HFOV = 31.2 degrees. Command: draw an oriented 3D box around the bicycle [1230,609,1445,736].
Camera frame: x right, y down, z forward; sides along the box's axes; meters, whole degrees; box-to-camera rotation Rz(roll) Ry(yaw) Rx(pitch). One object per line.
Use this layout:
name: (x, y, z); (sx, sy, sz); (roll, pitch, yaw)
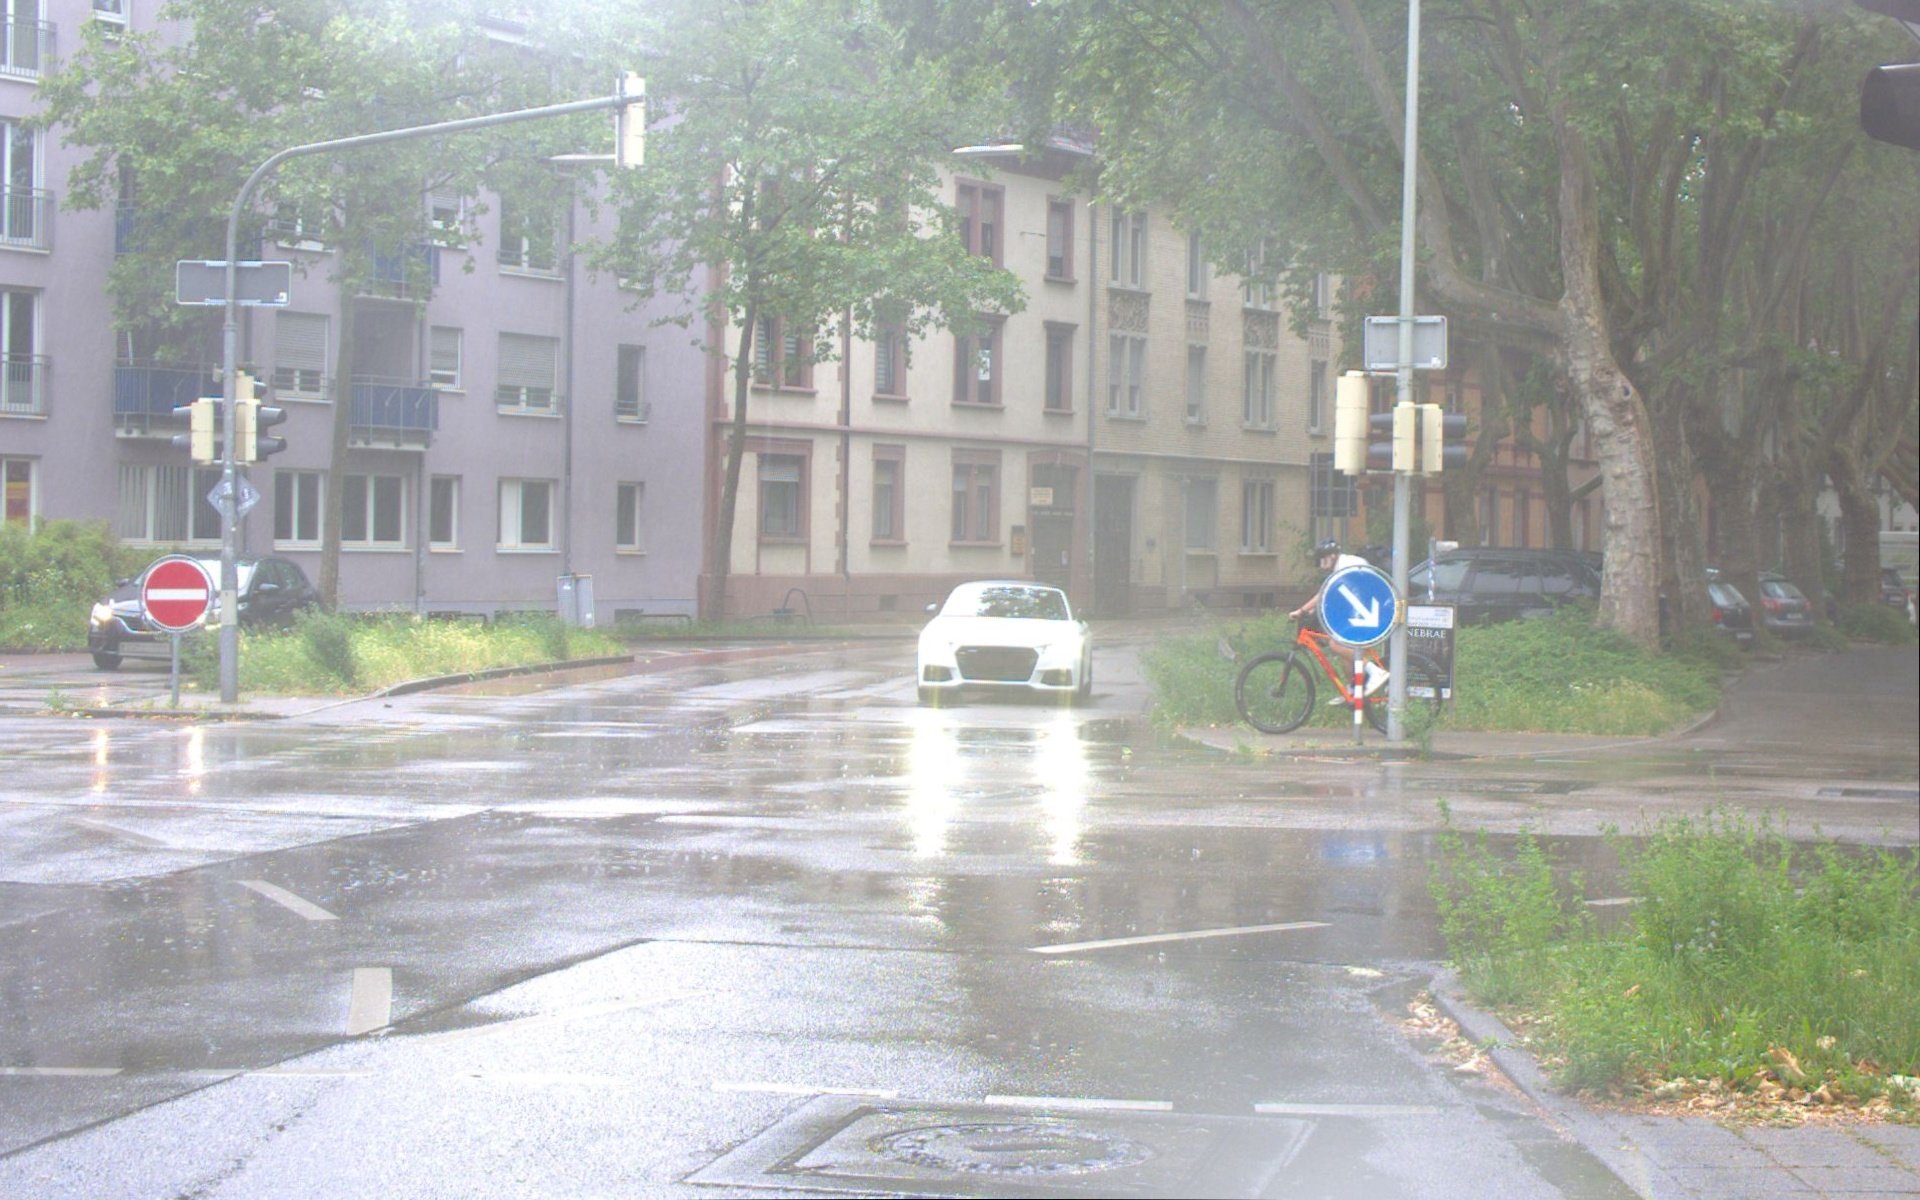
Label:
bicycle: (3.368, 0.638, 30.628); (1.873, 1.077, 0.657); (1, 0, 8)

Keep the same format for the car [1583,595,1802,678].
car: (13.940, 0.679, 65.481); (3.989, 1.481, 1.999); (1, 1, 12)

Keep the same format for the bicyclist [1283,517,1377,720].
bicyclist: (3.302, 0.158, 30.627); (0.795, 1.780, 0.697); (1, 0, 8)

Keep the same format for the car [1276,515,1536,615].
car: (6.968, -0.545, 53.633); (3.868, 1.481, 1.715); (1, 0, 12)

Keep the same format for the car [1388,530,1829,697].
car: (6.170, 0.106, 32.701); (3.989, 1.481, 1.999); (1, 1, 12)

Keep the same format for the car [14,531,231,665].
car: (-10.045, -0.060, 41.493); (1.751, 1.506, 3.839); (1, 1, -2)

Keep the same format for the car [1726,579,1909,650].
car: (19.573, 0.317, 78.652); (3.989, 1.542, 1.999); (1, 0, 12)

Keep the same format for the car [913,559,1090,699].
car: (0.495, 0.288, 39.143); (1.884, 1.431, 4.000); (1, 1, 1)

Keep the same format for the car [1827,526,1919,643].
car: (24.393, -0.404, 87.714); (2.033, 2.938, 4.773); (1, 1, -21)
